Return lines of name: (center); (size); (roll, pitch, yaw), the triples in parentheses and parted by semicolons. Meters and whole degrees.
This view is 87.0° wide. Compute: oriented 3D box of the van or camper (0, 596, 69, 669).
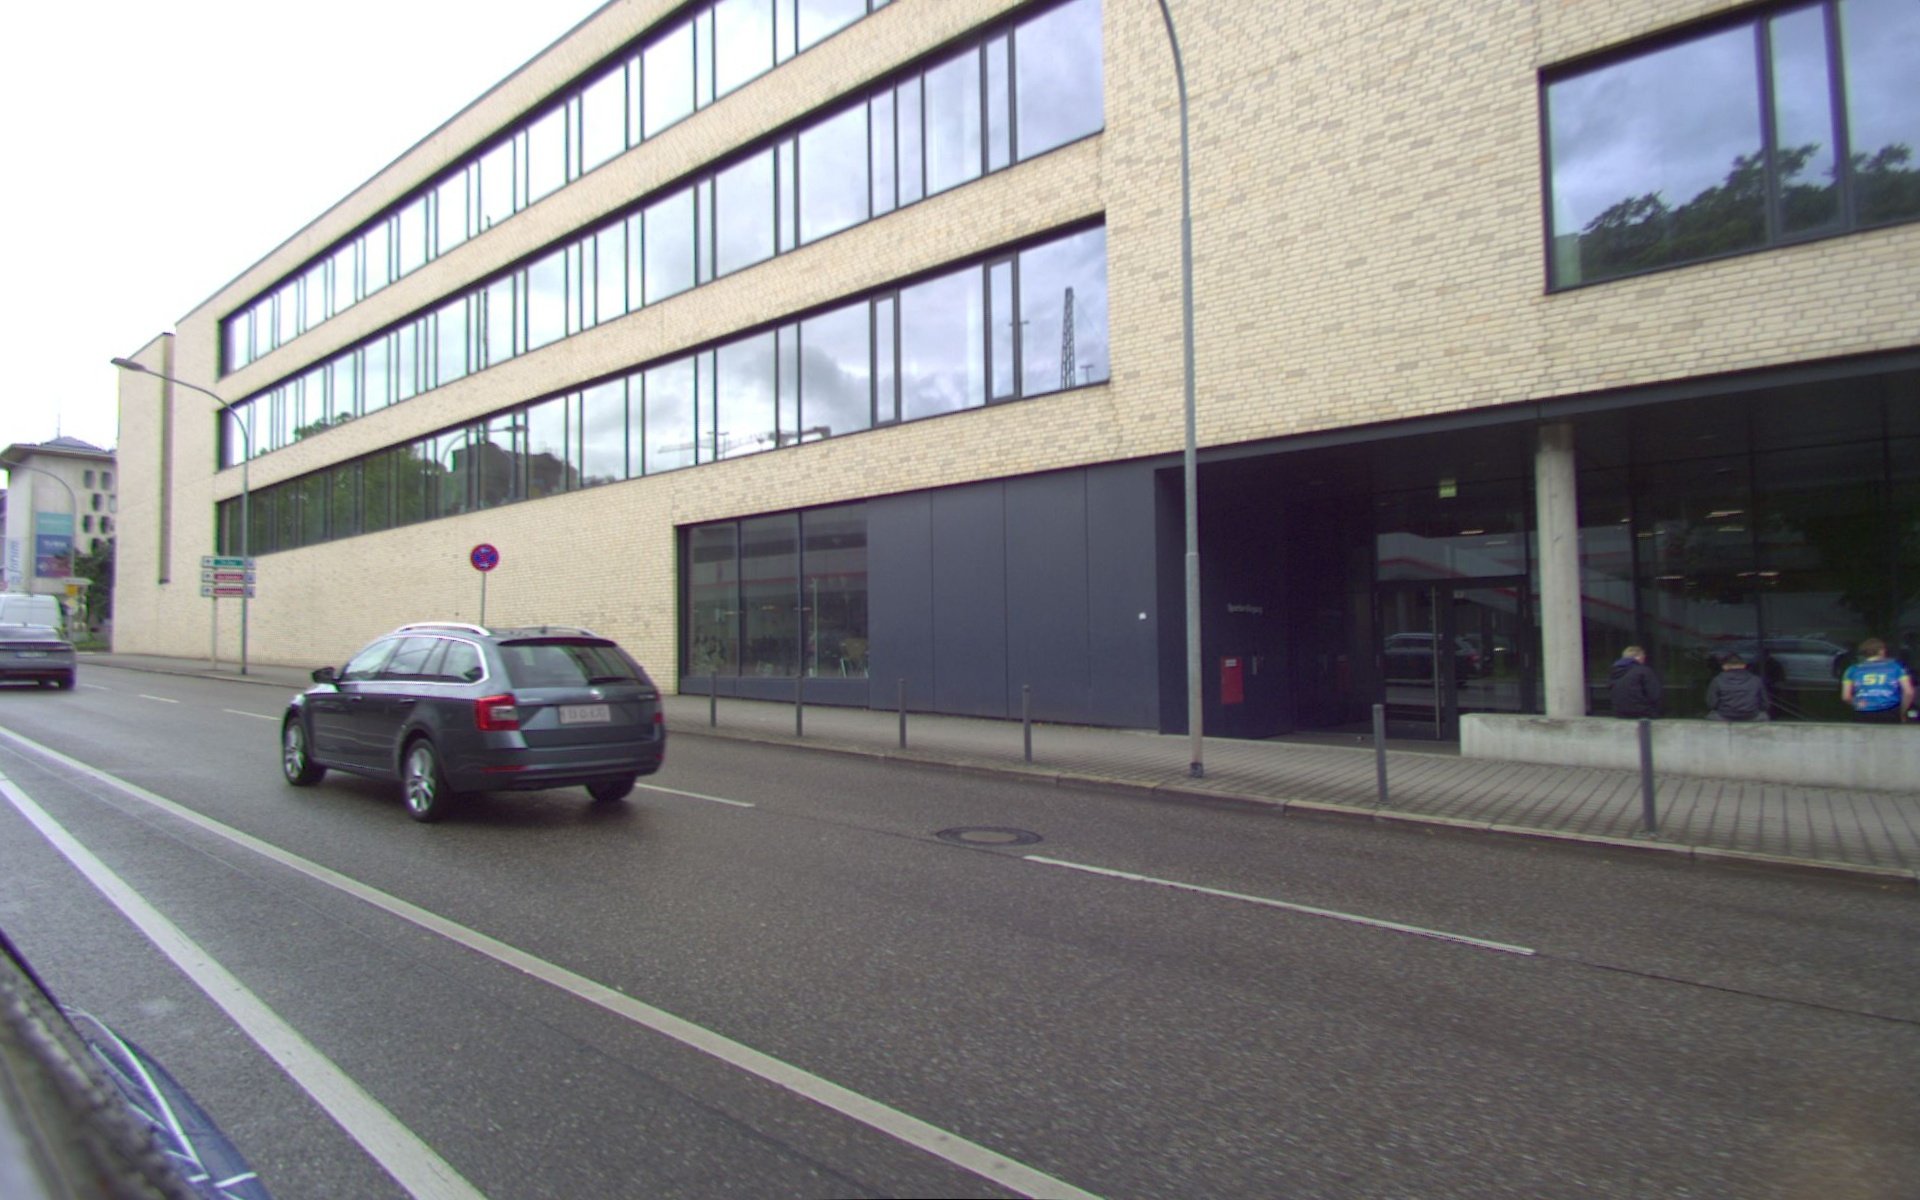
van or camper: (-36.325, 1.241, 38.749); (5.897, 2.602, 2.082); (-1, -3, 37)

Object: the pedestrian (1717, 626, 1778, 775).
pedestrian: (8.156, 1.018, 10.495); (0.462, 1.486, 0.445); (-1, 0, 36)

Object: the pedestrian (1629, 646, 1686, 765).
pedestrian: (7.640, 1.133, 11.084); (0.422, 1.224, 0.542); (-1, 0, 44)

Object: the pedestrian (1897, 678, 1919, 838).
pedestrian: (10.819, 1.735, 10.976); (0.627, 1.727, 0.705); (-1, 0, -2)

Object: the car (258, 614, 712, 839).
car: (-4.229, 0.906, 8.718); (4.283, 1.473, 1.794); (-1, -4, 39)

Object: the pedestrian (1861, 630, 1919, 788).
pedestrian: (9.214, 1.053, 9.961); (0.462, 1.486, 0.445); (-1, 0, 36)

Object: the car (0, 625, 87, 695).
car: (-22.186, 1.348, 23.671); (4.557, 1.509, 1.864); (-1, -3, 39)
